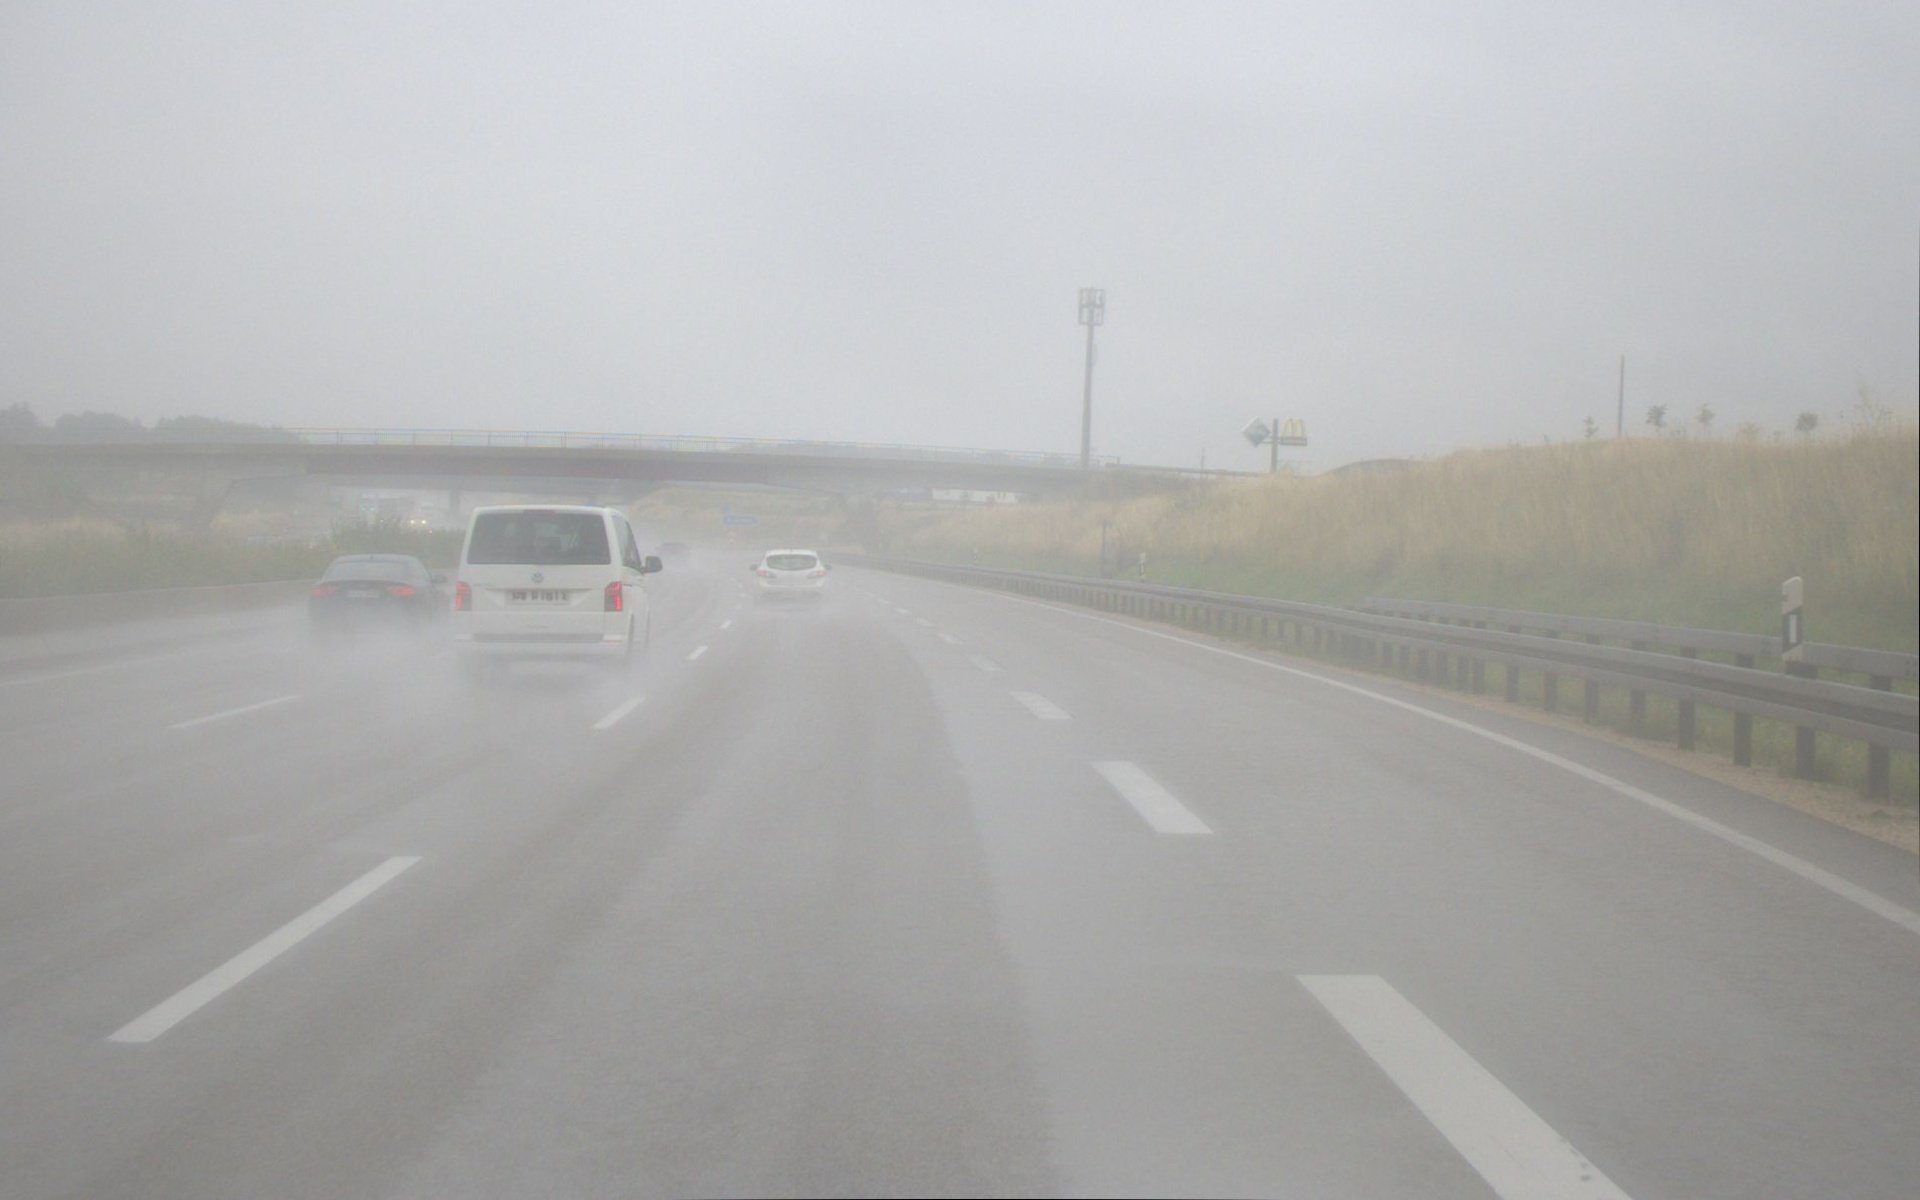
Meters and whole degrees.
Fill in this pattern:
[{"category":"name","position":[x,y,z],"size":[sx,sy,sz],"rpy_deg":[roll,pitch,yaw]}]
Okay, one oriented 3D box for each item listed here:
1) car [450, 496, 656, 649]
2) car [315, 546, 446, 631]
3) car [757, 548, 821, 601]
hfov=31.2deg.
[{"category":"car","position":[-4.475,-0.314,38.303],"size":[1.897,1.580,4.000],"rpy_deg":[1,1,-1]},{"category":"car","position":[-8.927,-0.194,53.162],"size":[1.468,1.253,3.340],"rpy_deg":[0,1,0]},{"category":"car","position":[-4.056,-0.620,81.721],"size":[1.467,1.204,2.992],"rpy_deg":[1,1,-2]}]
